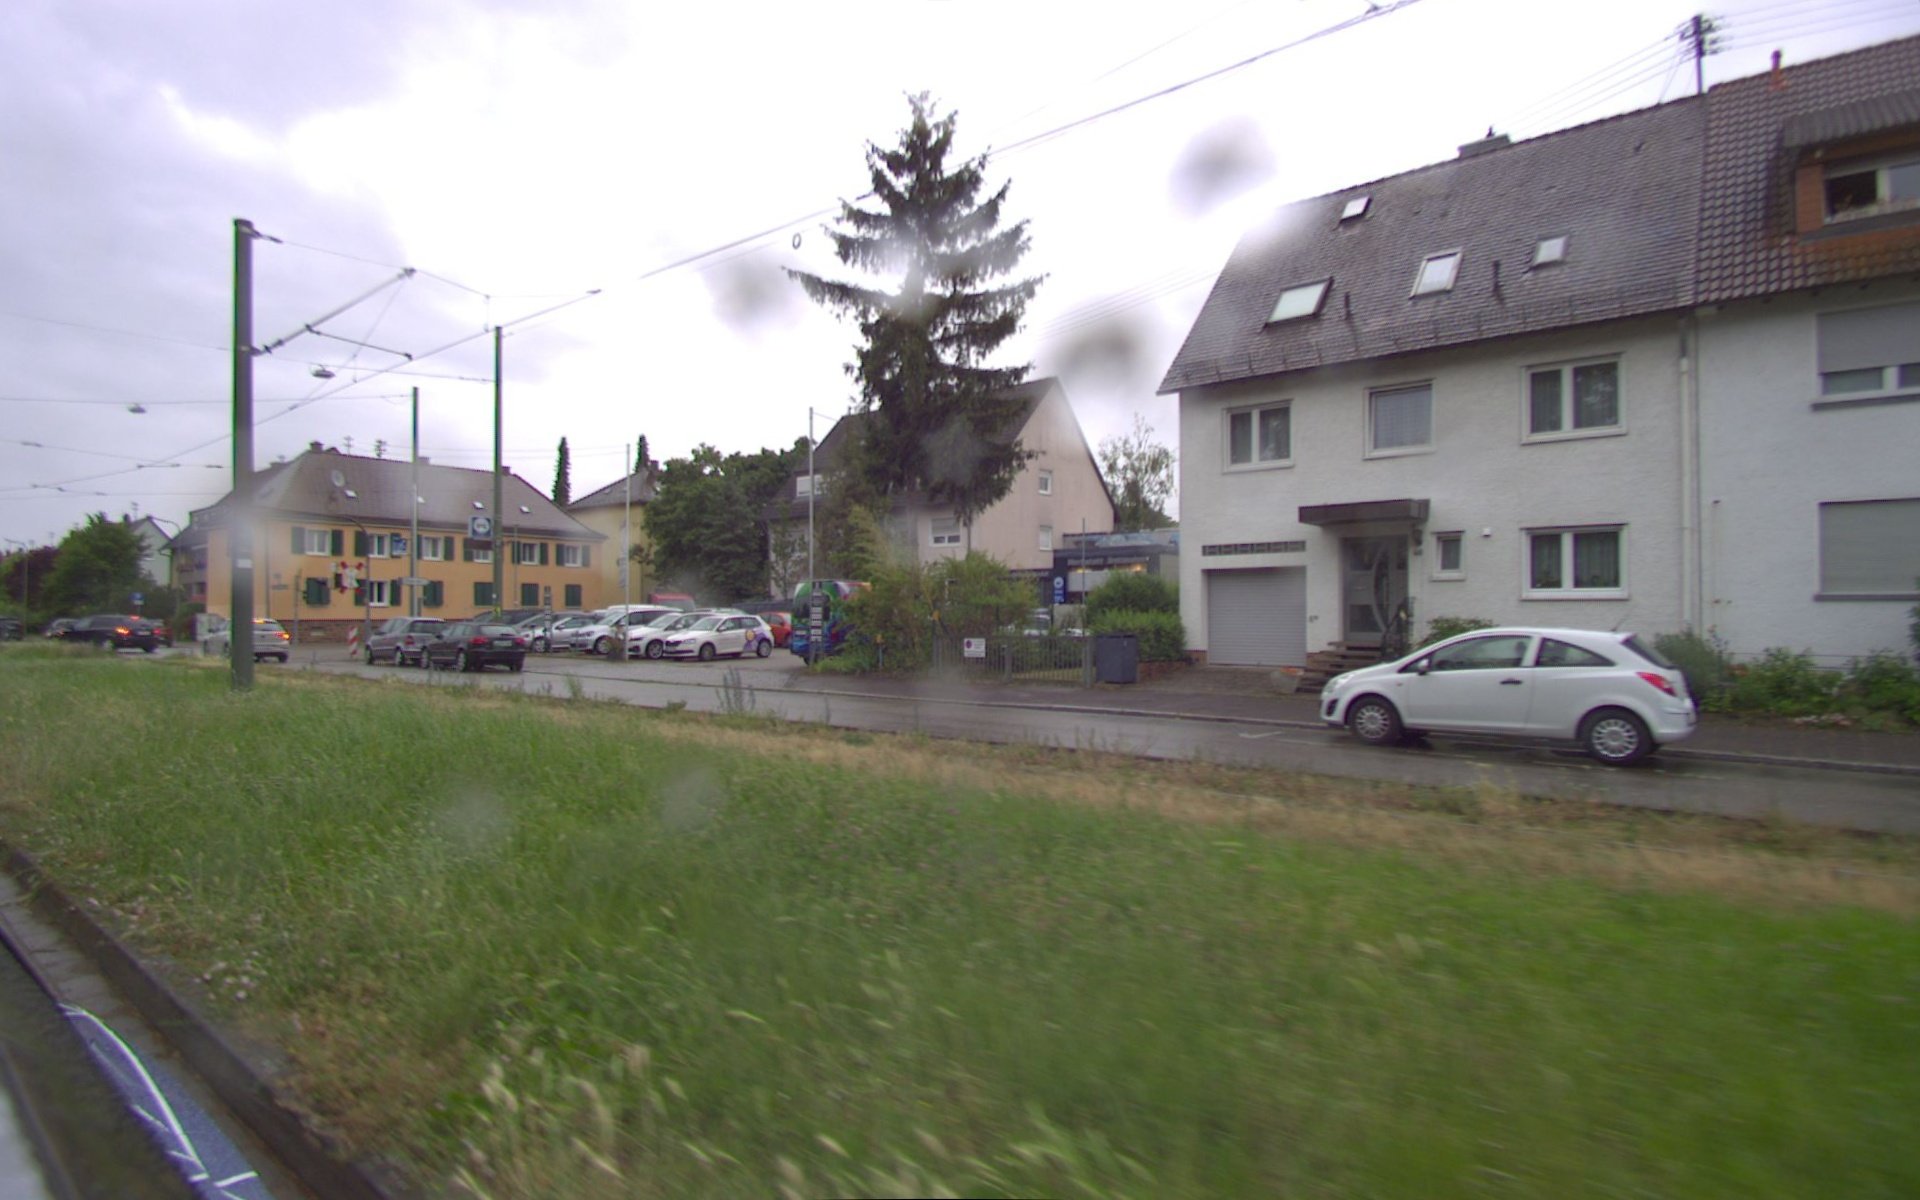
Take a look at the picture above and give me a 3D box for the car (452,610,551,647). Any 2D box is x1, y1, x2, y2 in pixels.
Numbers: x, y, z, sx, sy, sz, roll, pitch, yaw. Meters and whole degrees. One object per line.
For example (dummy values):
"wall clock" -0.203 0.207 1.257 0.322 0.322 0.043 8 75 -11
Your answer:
"car" -20.208 1.257 44.752 3.805 1.591 1.813 0 -2 -18

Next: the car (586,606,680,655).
"car" -14.493 1.359 44.735 4.446 2.029 1.972 -2 -3 42

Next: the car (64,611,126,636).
"car" -50.572 1.350 59.145 4.499 1.406 1.942 -1 -1 38

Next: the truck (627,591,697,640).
"truck" -15.030 0.828 50.791 1.966 2.289 6.121 2 -2 -30

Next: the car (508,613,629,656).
"car" -14.959 1.314 38.693 3.990 1.515 1.839 1 0 -33

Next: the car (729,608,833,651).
"car" -7.470 1.224 42.031 4.446 1.700 1.972 -2 -3 42

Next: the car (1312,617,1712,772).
"car" 6.439 0.980 12.046 3.941 1.434 1.584 1 0 41

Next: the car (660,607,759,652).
"car" -10.196 1.200 41.035 4.446 1.700 1.736 -2 -3 42

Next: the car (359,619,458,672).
"car" -17.983 1.423 32.957 3.643 1.515 1.699 1 0 42

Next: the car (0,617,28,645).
"car" -66.969 2.165 70.601 3.988 1.807 1.978 1 0 33

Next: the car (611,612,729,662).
"car" -10.027 1.262 35.141 1.723 1.585 3.565 1 0 43

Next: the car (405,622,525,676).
"car" -14.774 1.392 30.089 4.388 1.349 1.699 1 0 42

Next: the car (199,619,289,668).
"car" -24.152 1.429 34.105 3.818 1.434 1.584 1 0 41

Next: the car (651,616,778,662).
"car" -8.122 1.267 33.697 1.723 1.406 3.787 1 0 43

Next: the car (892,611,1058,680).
"car" 0.350 1.209 26.308 3.891 1.577 1.974 -5 -4 39

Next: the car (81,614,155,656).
"car" -33.962 1.382 40.783 3.999 1.497 1.718 1 0 42

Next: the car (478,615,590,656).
"car" -16.910 1.406 40.338 3.988 1.515 1.840 1 0 -22

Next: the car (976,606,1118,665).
"car" 2.656 1.104 31.267 3.891 1.577 1.974 -5 -4 39

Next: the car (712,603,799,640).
"car" -10.116 1.088 49.998 4.446 1.700 1.972 -2 -3 42

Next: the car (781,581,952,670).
"car" -2.710 0.737 30.489 2.150 2.424 5.081 1 0 39

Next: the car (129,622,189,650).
"car" -43.010 1.902 54.326 3.611 1.349 1.701 1 0 38

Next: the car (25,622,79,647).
"car" -56.037 2.102 62.426 3.994 1.342 1.738 1 0 37

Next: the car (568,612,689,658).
"car" -12.115 1.250 37.063 3.812 1.591 1.810 1 -2 -42
